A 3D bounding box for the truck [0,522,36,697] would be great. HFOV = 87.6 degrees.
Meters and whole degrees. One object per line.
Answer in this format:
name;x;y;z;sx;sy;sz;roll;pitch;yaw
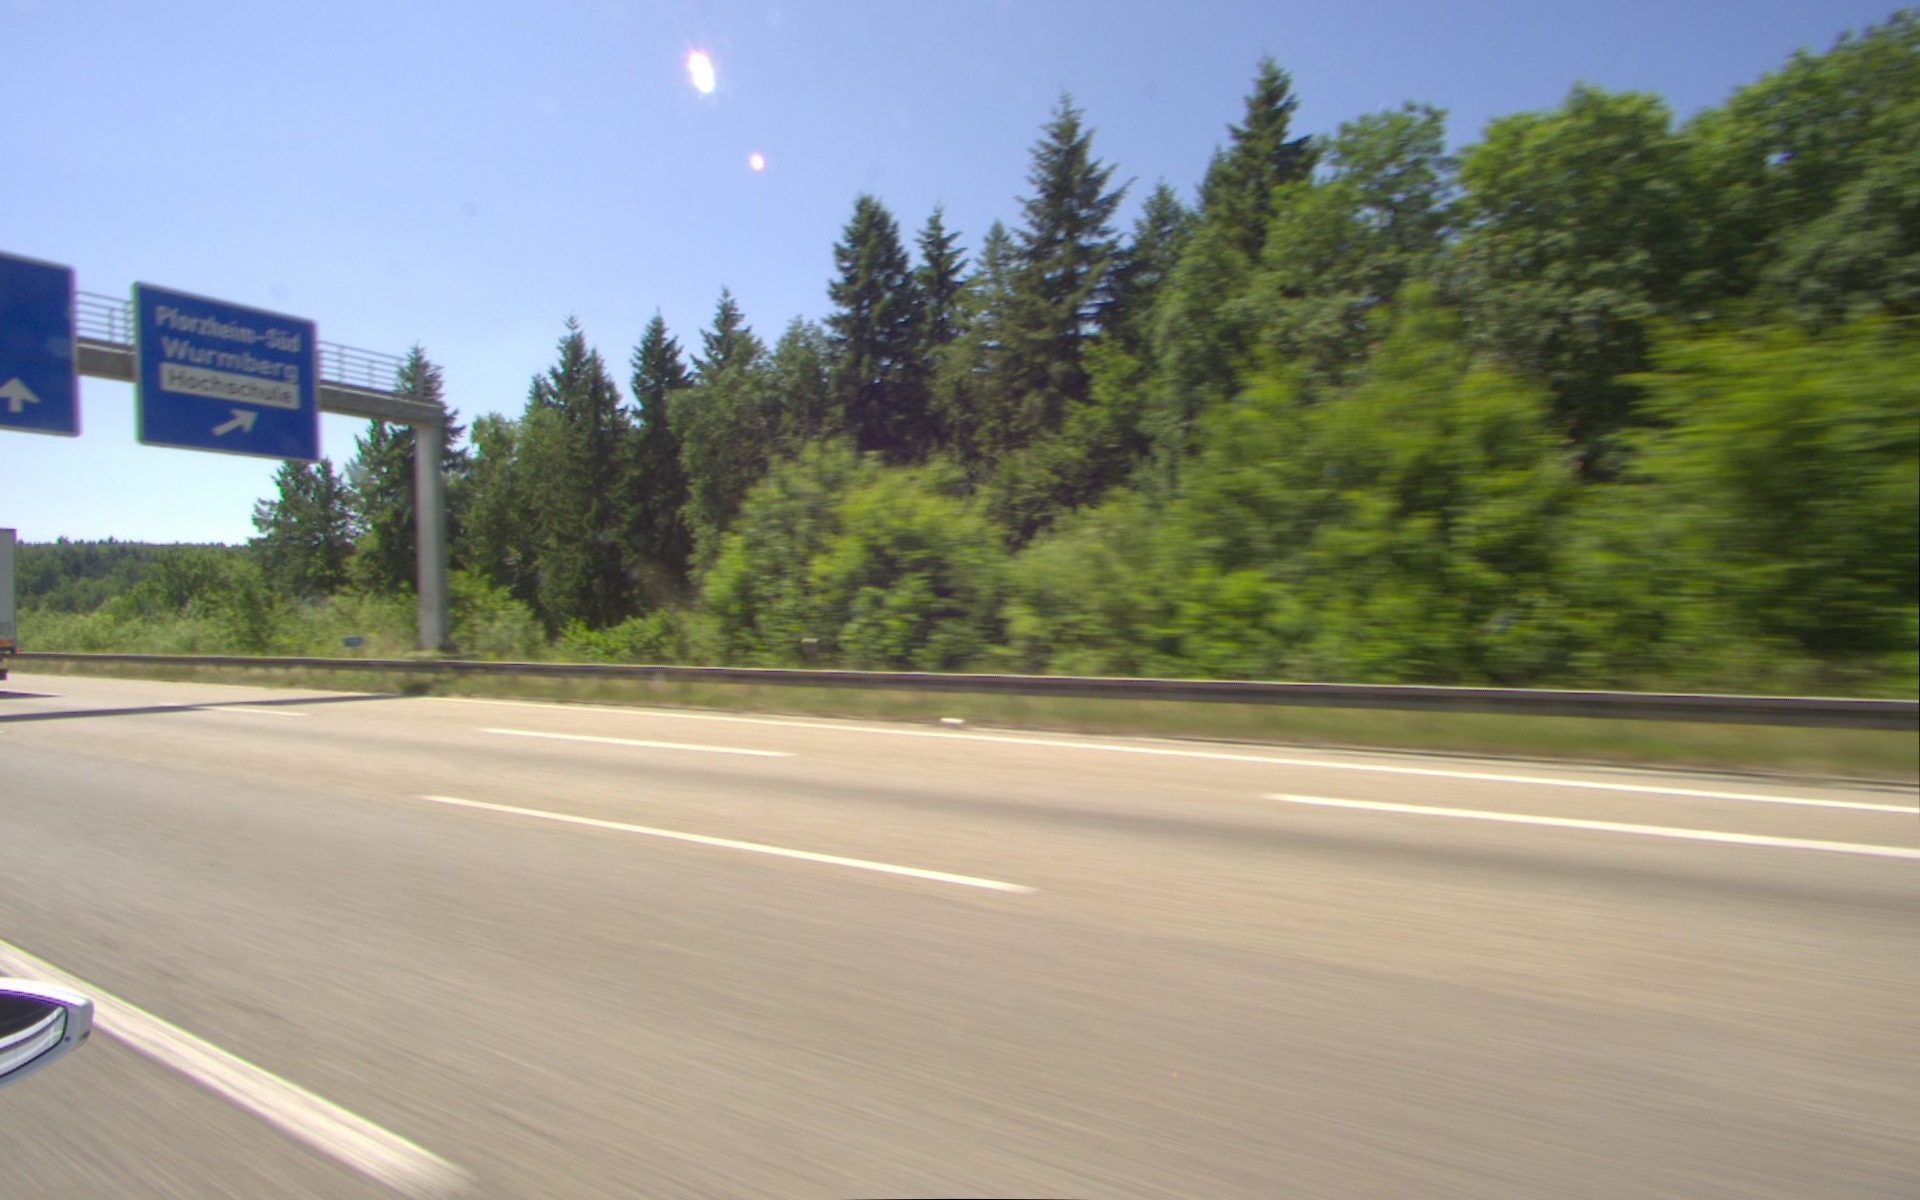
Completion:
truck;-27.417;0.336;25.684;9.597;4.180;2.780;-2;-3;31
